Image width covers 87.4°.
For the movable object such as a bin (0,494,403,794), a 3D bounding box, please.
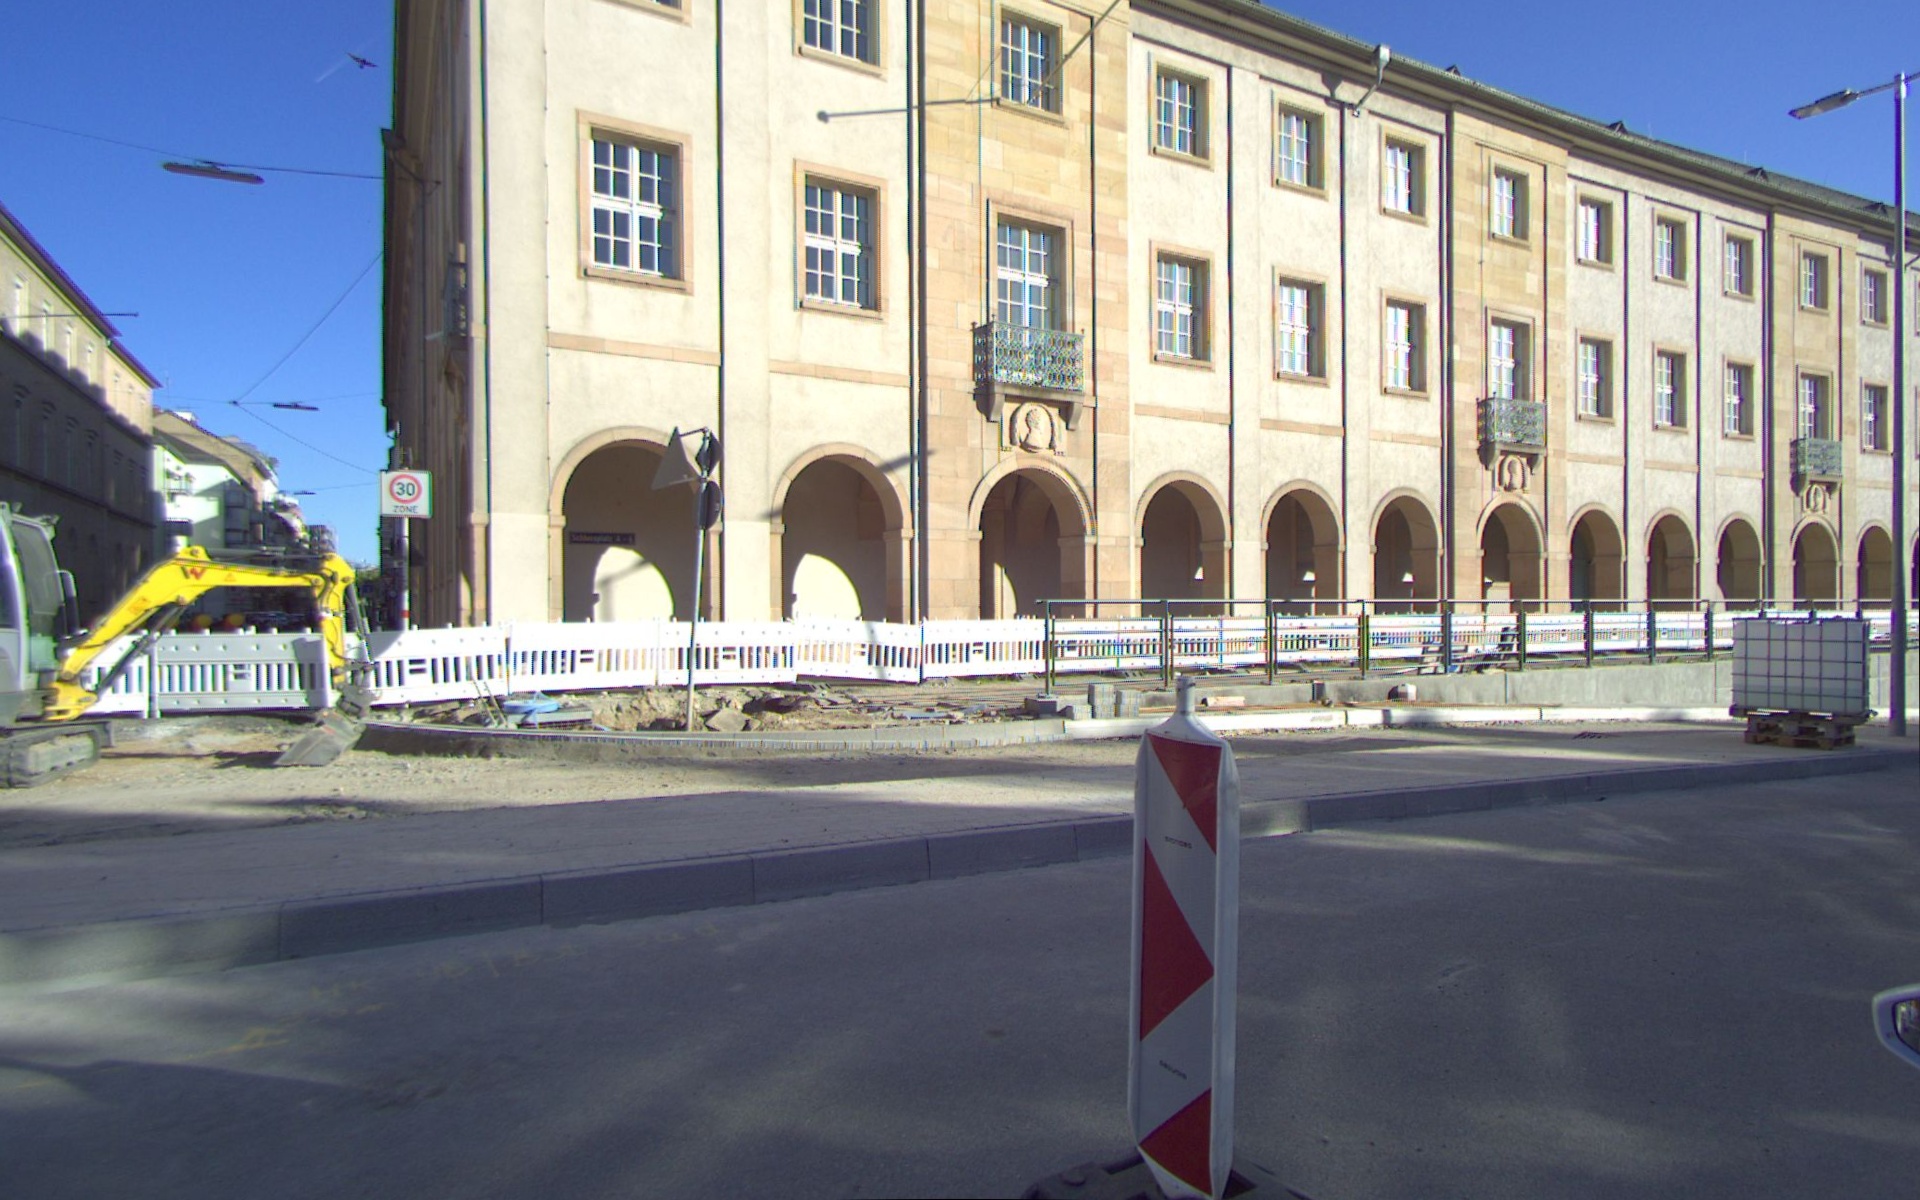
[{"bbox_3d":[-7.674,0.404,9.333,4.253,2.426,2.091,1,-3,-28],"label":"movable object such as a bin"}]
